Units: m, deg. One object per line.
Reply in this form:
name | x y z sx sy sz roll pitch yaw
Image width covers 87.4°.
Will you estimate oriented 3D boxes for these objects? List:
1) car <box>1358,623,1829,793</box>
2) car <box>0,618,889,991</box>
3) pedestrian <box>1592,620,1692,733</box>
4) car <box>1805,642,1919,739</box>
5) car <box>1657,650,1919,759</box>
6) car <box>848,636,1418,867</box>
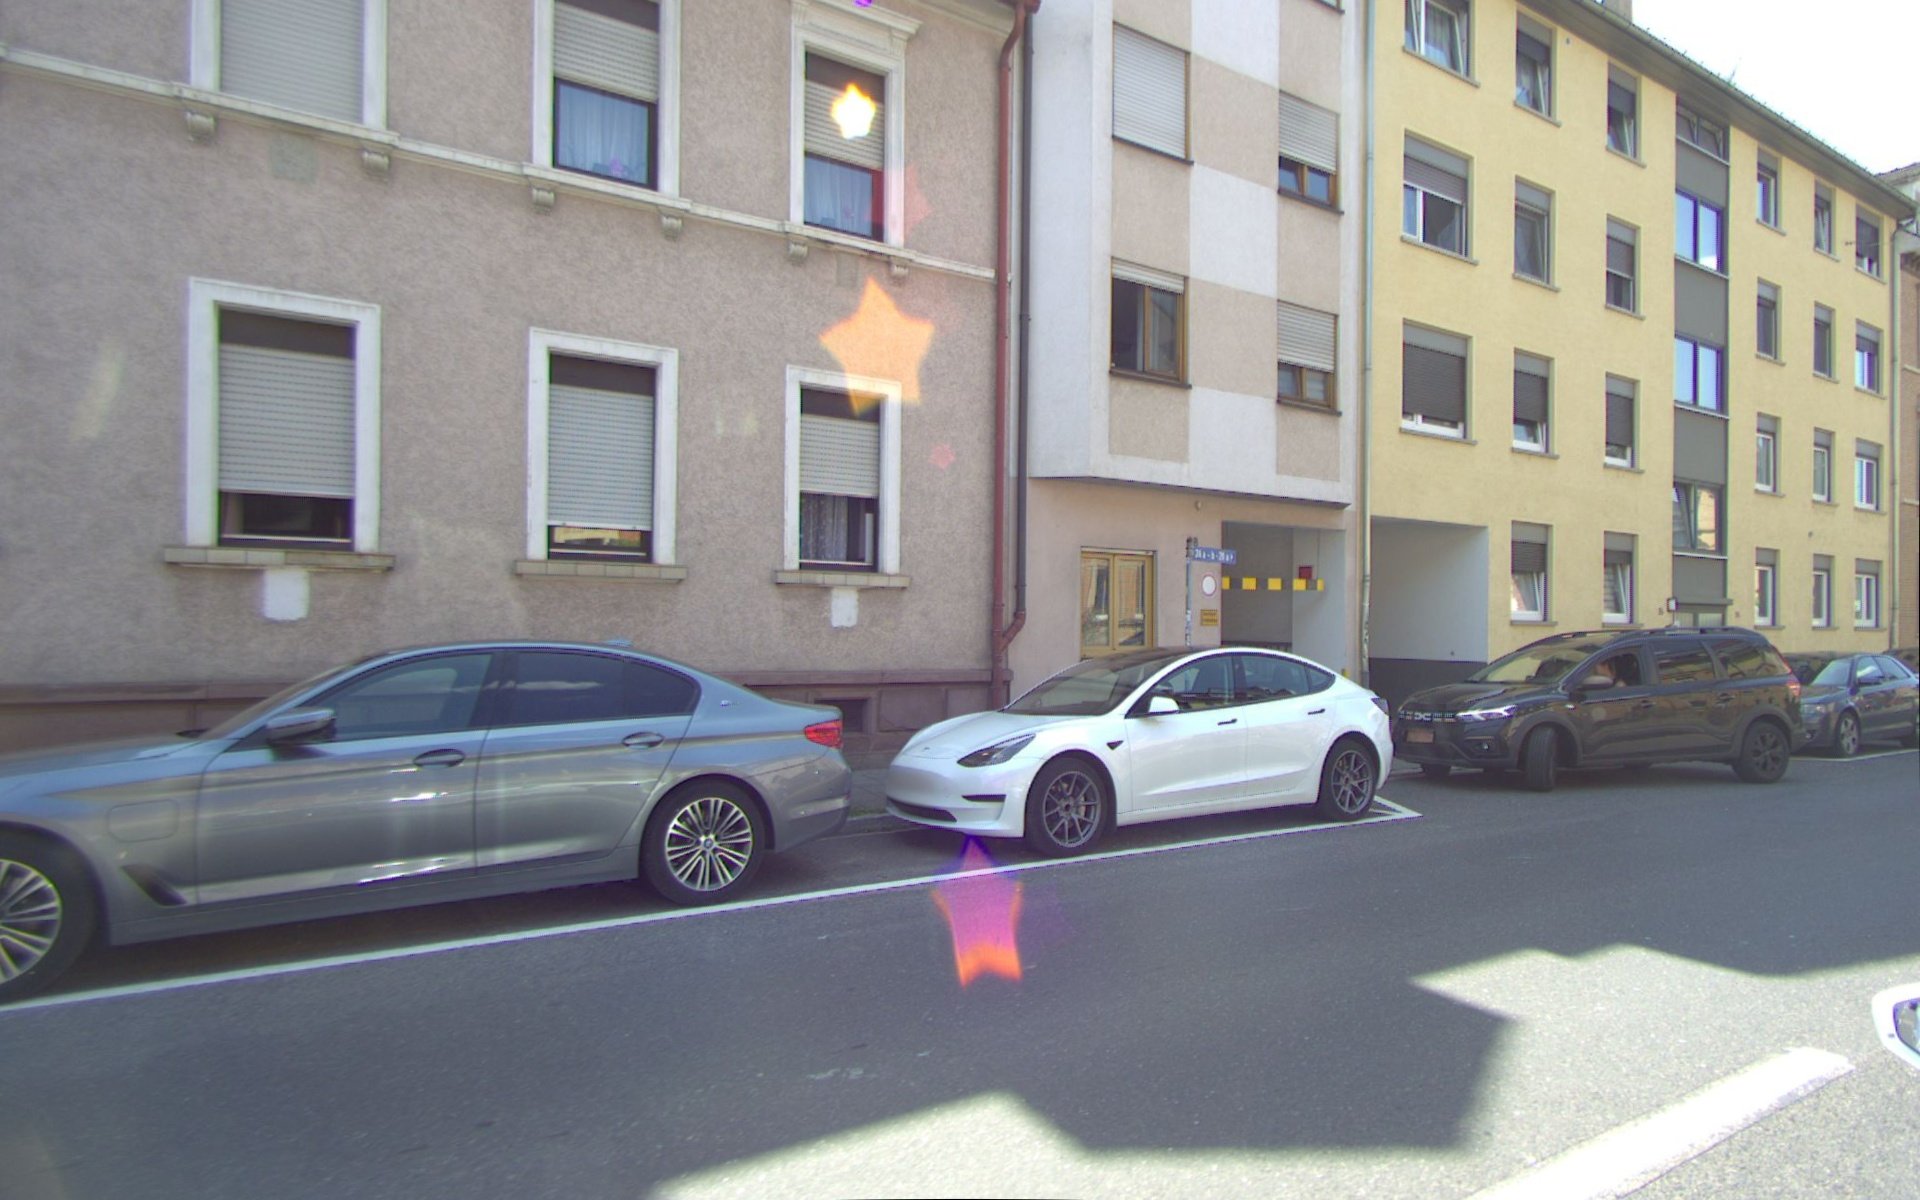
car | 7.032 1.143 11.308 4.480 1.659 1.906 1 -3 -14
car | -2.838 0.900 5.606 4.598 1.441 1.829 3 -4 -34
pedestrian | 11.194 1.220 16.497 1.141 1.773 0.962 2 -1 -30
car | 16.761 1.524 17.475 4.254 1.530 1.895 2 -4 -31
car | 12.312 1.450 14.756 4.014 1.397 1.896 2 -4 -31
car | 1.515 1.087 8.255 4.505 1.441 1.831 2 -5 -31
